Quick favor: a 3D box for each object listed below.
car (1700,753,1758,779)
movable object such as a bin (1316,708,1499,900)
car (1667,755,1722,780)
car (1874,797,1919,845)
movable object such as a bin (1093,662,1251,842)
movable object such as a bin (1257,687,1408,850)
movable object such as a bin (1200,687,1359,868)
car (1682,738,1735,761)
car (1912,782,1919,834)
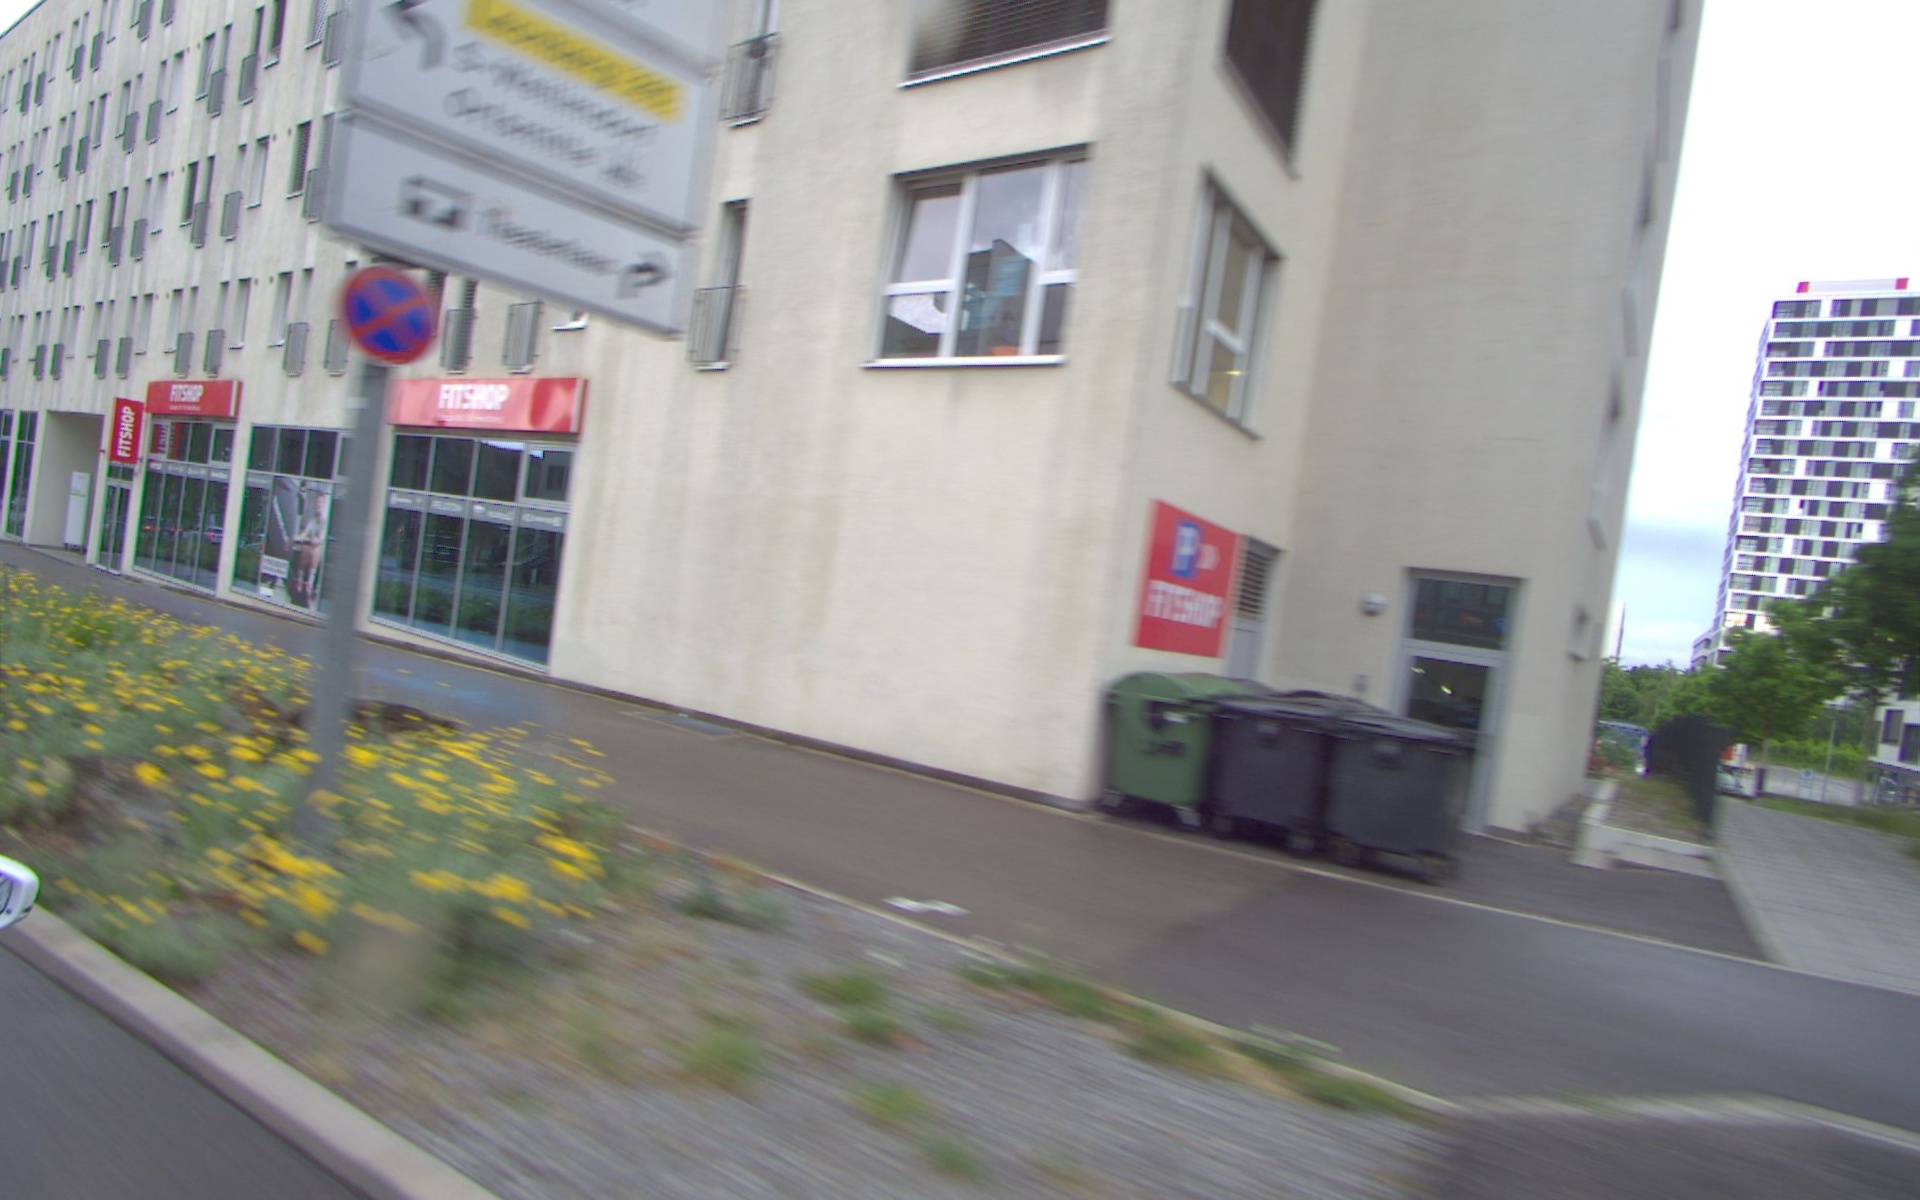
[{"bbox_3d":[77.468,16.713,101.425,4.334,1.804,1.893,6,-4,32],"label":"car"},{"bbox_3d":[3.914,1.700,8.760,1.172,1.336,1.236,6,0,33],"label":"movable object such as a bin"},{"bbox_3d":[69.064,15.768,94.640,3.934,1.632,1.893,6,-4,32],"label":"car"},{"bbox_3d":[41.627,9.711,43.966,1.637,1.574,3.805,6,-2,31],"label":"car"},{"bbox_3d":[2.095,1.444,9.873,0.997,1.521,1.175,7,-1,34],"label":"movable object such as a bin"},{"bbox_3d":[3.899,1.695,10.474,1.094,1.419,1.262,7,-1,33],"label":"movable object such as a bin"},{"bbox_3d":[2.989,1.597,9.377,1.040,1.419,1.022,7,-1,33],"label":"movable object such as a bin"},{"bbox_3d":[81.270,16.247,109.290,4.334,1.804,1.893,6,-4,32],"label":"car"},{"bbox_3d":[39.154,8.448,39.394,1.709,2.037,3.994,6,-1,31],"label":"car"}]
